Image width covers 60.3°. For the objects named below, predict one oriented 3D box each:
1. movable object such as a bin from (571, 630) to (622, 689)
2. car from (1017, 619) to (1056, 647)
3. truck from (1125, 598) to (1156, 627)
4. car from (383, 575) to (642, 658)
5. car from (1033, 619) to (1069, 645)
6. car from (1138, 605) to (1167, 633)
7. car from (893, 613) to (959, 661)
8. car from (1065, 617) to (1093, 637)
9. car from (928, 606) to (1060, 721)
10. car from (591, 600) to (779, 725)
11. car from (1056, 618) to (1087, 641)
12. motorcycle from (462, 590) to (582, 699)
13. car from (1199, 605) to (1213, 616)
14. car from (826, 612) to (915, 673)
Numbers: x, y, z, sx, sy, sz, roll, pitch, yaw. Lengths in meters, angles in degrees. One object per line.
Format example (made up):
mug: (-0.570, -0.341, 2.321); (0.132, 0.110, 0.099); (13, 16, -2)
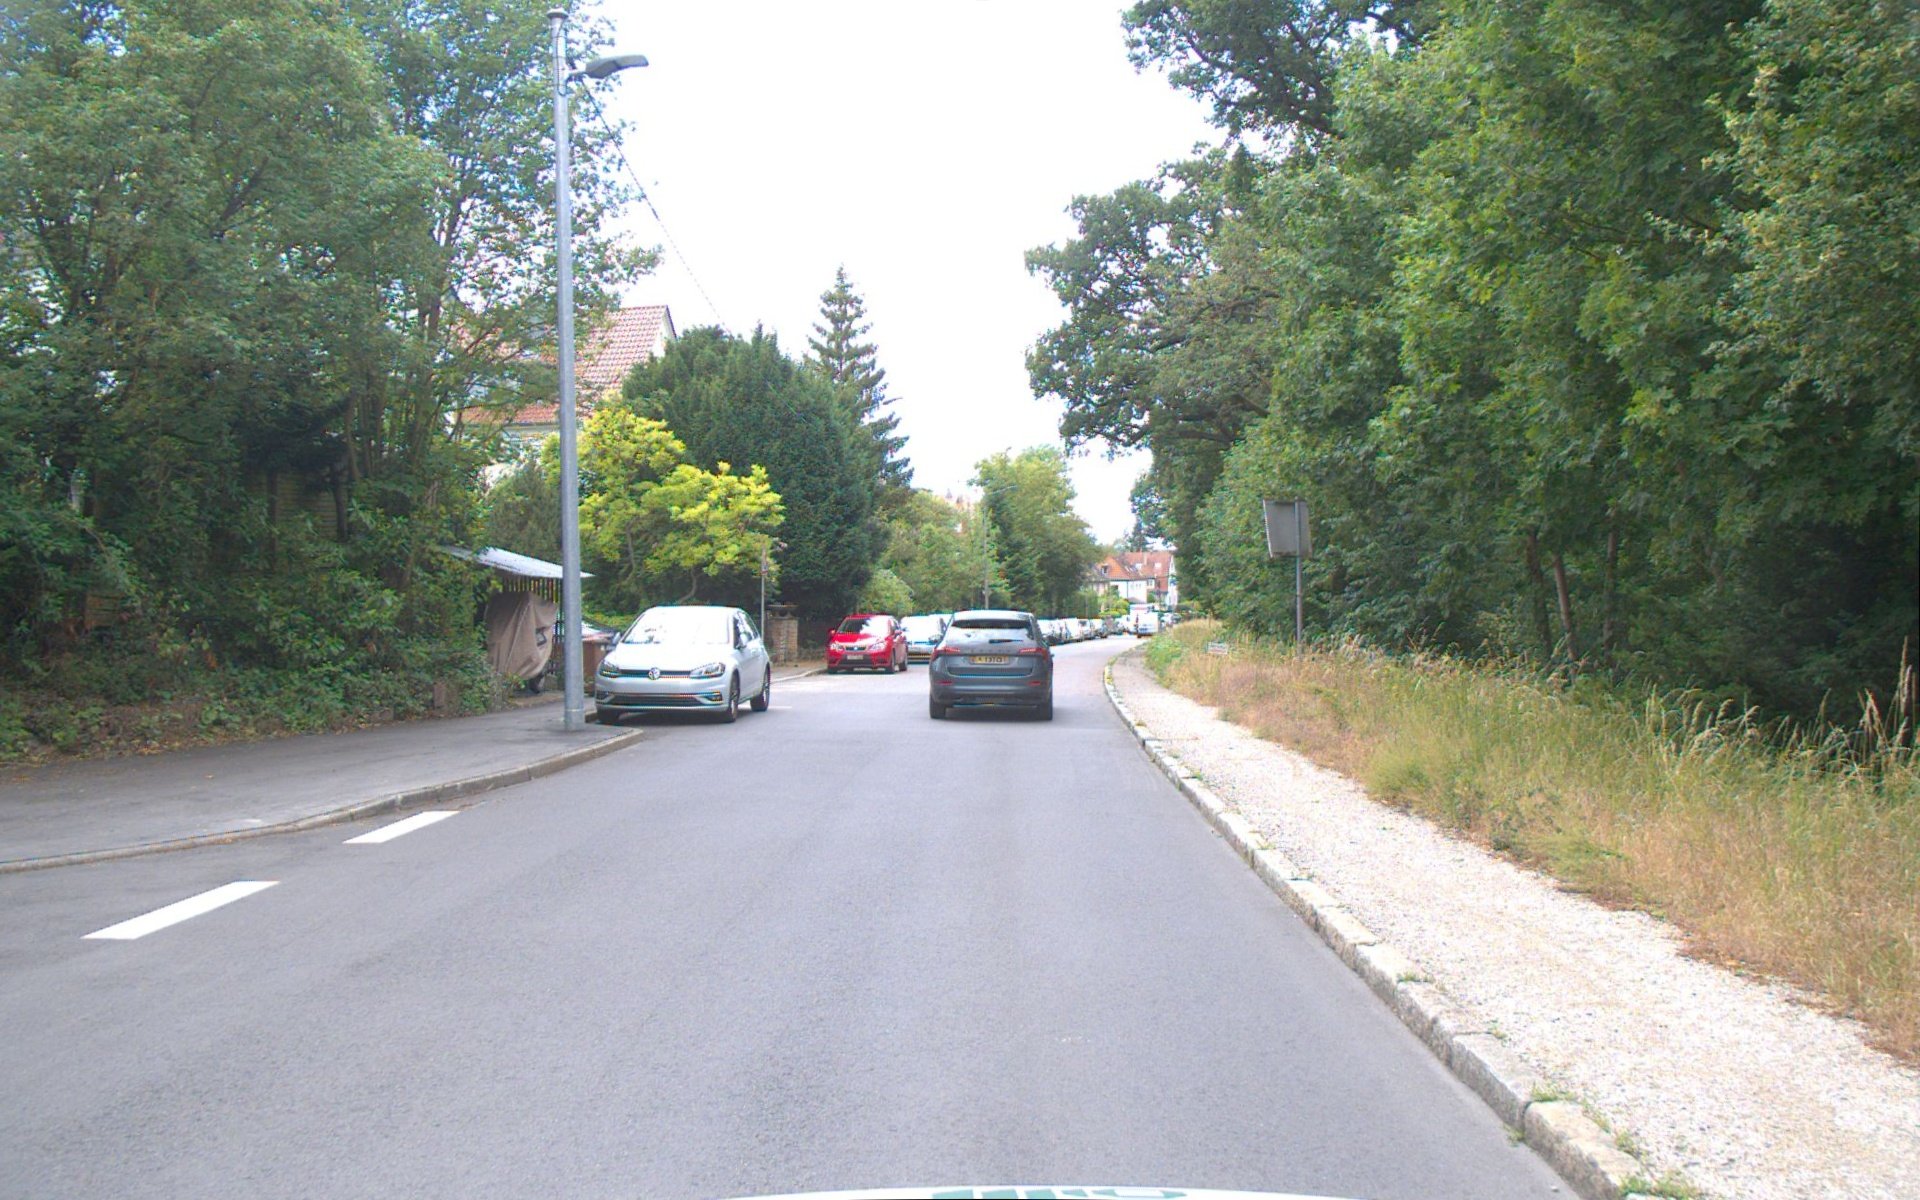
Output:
movable object such as a bin: (-5.847, 0.949, 26.621); (0.578, 0.925, 0.701); (1, -1, 9)
car: (4.203, 1.772, 89.927); (1.711, 1.429, 4.003); (1, -1, 8)
truck: (17.974, 1.237, 164.526); (2.704, 2.843, 9.275); (0, 0, 8)
car: (-8.514, 0.312, 31.684); (4.386, 1.466, 1.880); (1, -1, 5)
car: (5.326, 1.839, 96.374); (1.711, 1.429, 4.003); (1, -1, 8)
car: (14.962, 1.441, 128.431); (2.159, 2.100, 6.139); (0, 0, 7)
car: (-1.028, 1.136, 51.651); (1.712, 1.429, 4.001); (1, -1, 3)
car: (8.629, 1.932, 119.231); (1.711, 1.429, 4.003); (1, -1, 8)
car: (0.562, 0.842, 23.641); (1.698, 1.472, 4.182); (1, -1, 3)
car: (-3.573, 0.776, 22.183); (1.670, 1.493, 4.077); (1, -1, 2)
car: (7.336, 1.917, 108.871); (1.711, 1.429, 4.003); (1, -1, 8)
motorcycle: (-6.448, 0.632, 24.552); (0.792, 1.511, 2.897); (1, -1, 4)
car: (34.191, 1.524, 229.709); (1.698, 1.472, 4.003); (1, -1, 6)
car: (-2.205, 1.033, 41.726); (1.600, 1.429, 4.003); (1, -1, 6)
